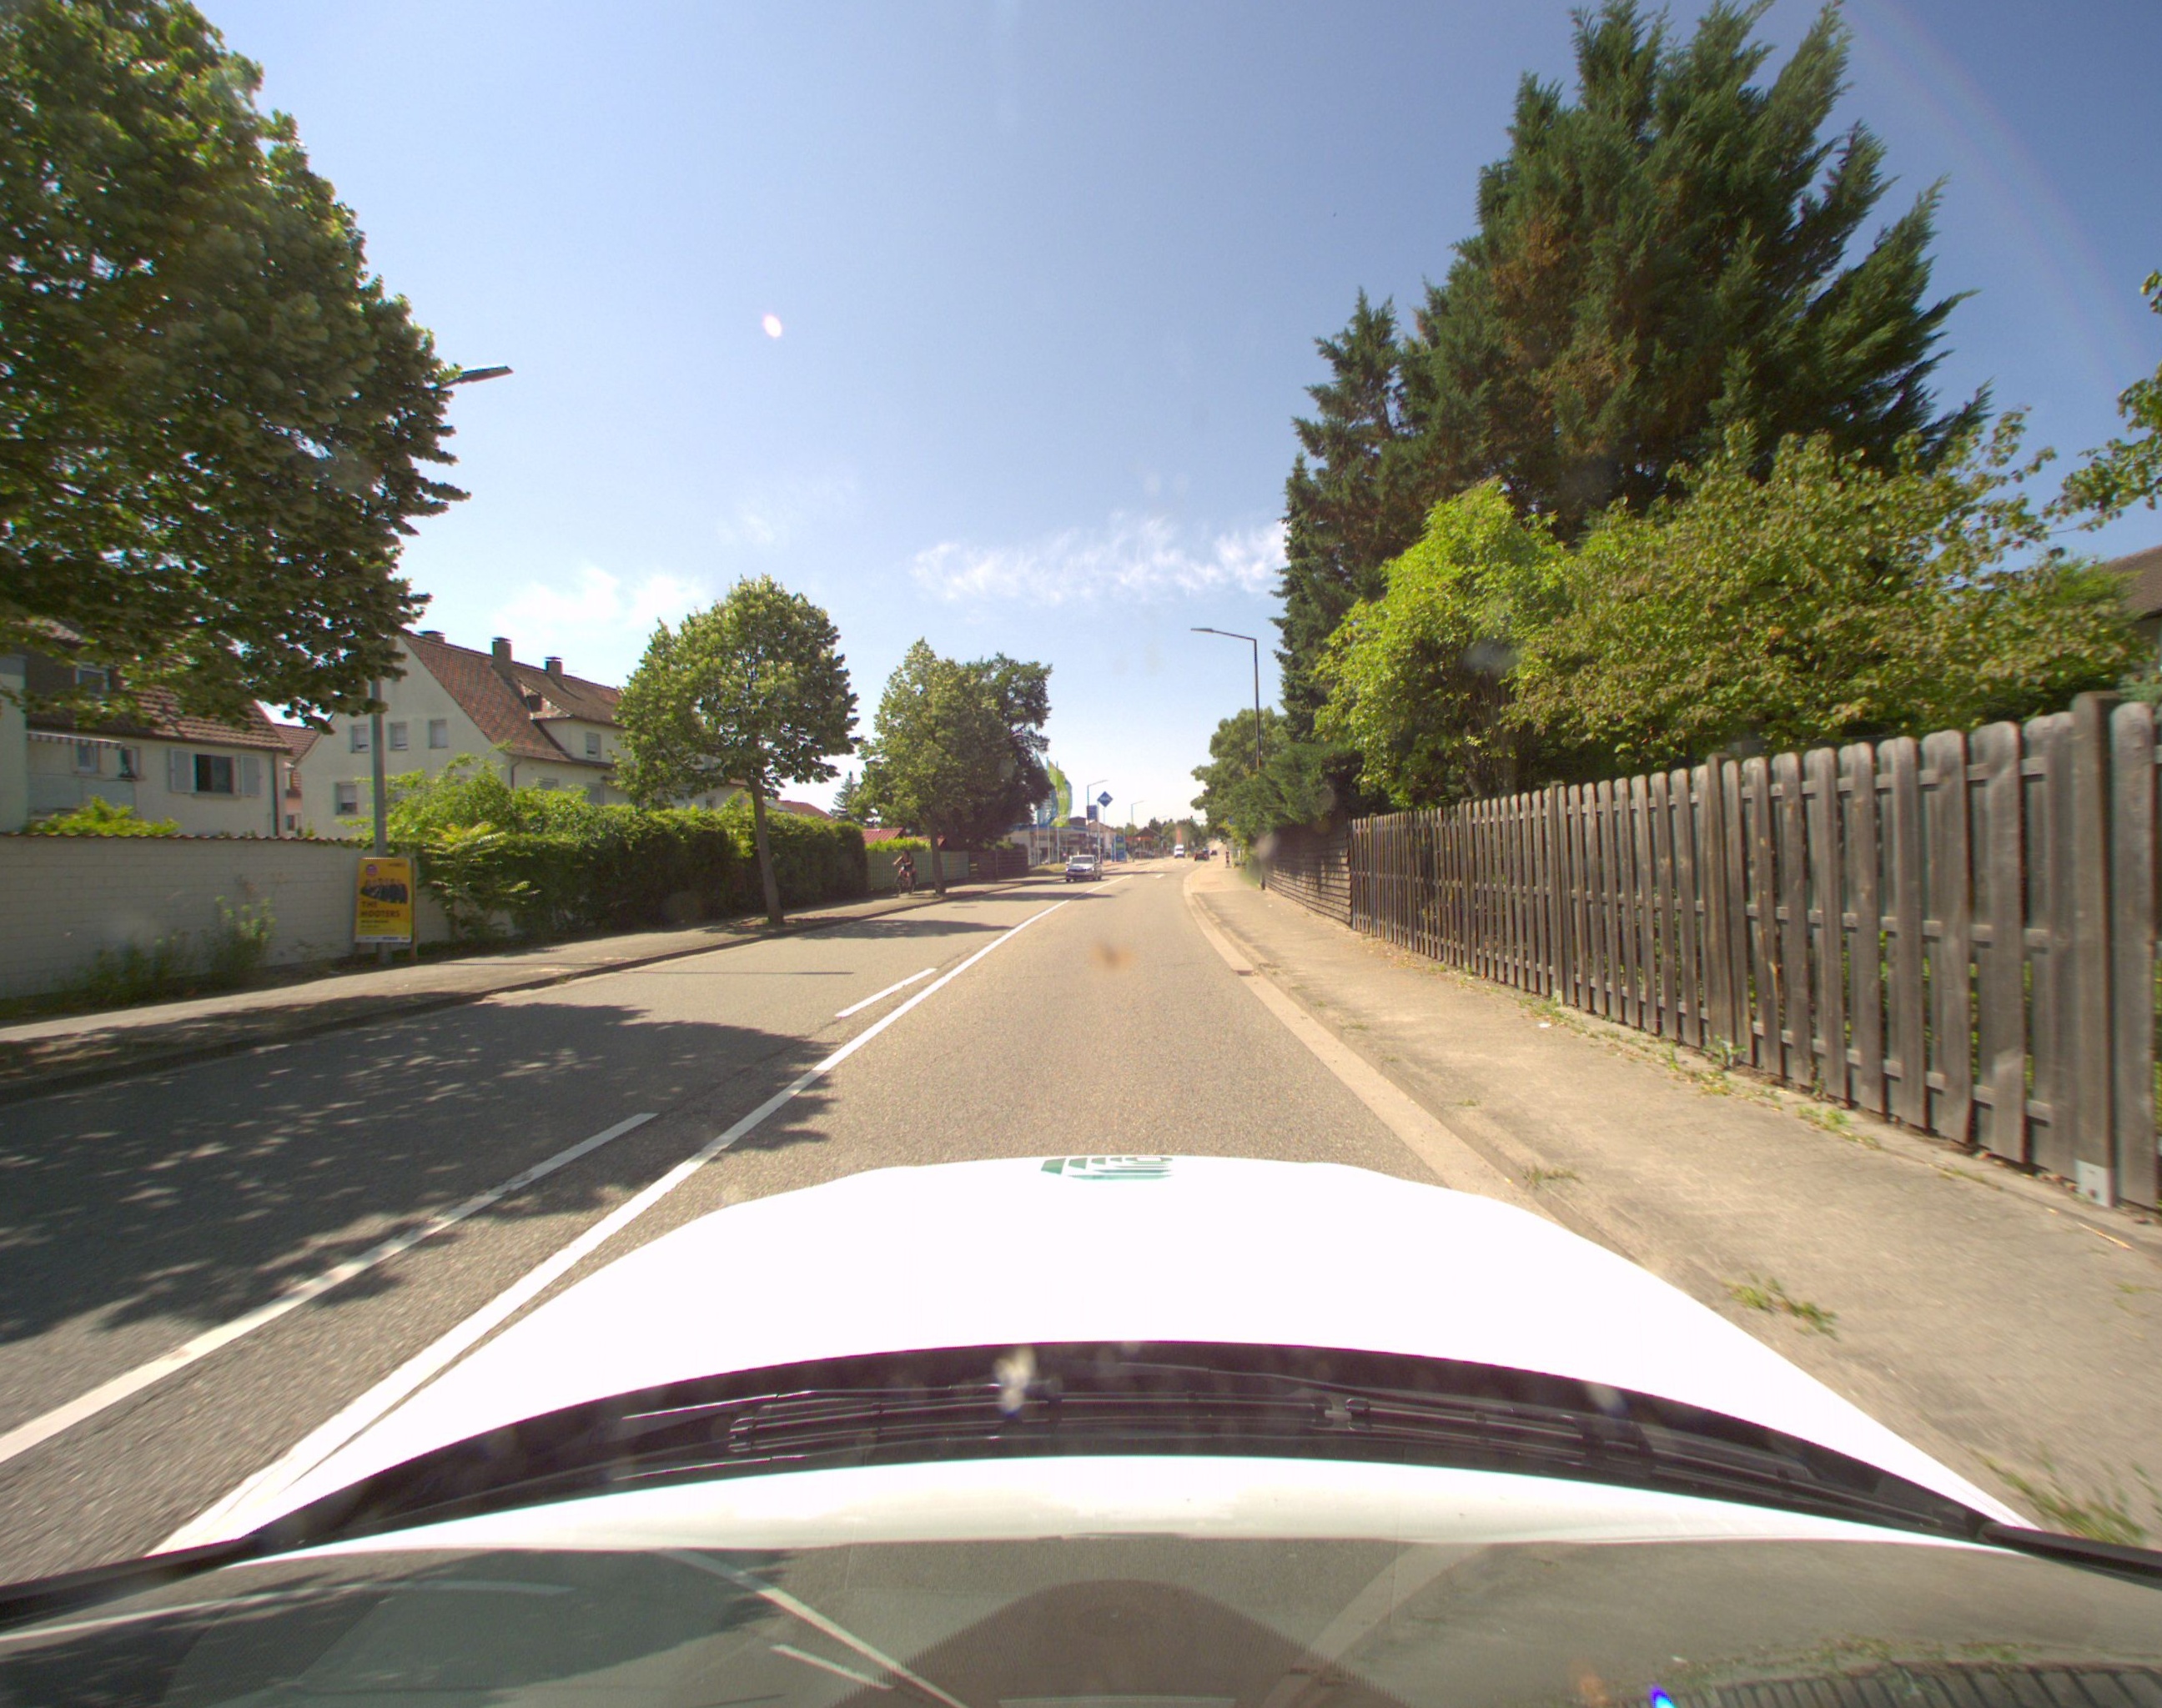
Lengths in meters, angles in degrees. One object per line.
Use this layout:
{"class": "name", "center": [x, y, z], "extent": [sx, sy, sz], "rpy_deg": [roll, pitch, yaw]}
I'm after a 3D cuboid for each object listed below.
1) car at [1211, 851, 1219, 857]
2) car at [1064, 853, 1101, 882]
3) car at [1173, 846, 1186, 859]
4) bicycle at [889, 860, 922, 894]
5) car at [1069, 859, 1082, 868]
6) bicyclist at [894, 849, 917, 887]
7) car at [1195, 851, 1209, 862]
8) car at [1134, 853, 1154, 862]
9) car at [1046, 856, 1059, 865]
{"class": "car", "center": [32.507, -0.074, 197.624], "extent": [1.655, 1.455, 3.482], "rpy_deg": [-2, 0, 10]}
{"class": "car", "center": [0.118, 0.720, 45.471], "extent": [1.603, 1.482, 3.714], "rpy_deg": [-1, 0, 6]}
{"class": "car", "center": [20.255, -0.331, 166.869], "extent": [1.980, 2.423, 5.967], "rpy_deg": [0, -1, 12]}
{"class": "bicycle", "center": [-6.582, 0.847, 30.666], "extent": [0.629, 1.180, 1.819], "rpy_deg": [-2, 0, 6]}
{"class": "car", "center": [-0.936, 1.514, 134.724], "extent": [1.609, 1.420, 3.718], "rpy_deg": [-3, 0, 6]}
{"class": "bicyclist", "center": [-6.593, 0.517, 30.655], "extent": [0.625, 1.408, 0.678], "rpy_deg": [-2, 0, 6]}
{"class": "car", "center": [16.801, 0.309, 113.044], "extent": [1.655, 1.455, 3.482], "rpy_deg": [-2, 0, 10]}
{"class": "car", "center": [12.621, 0.700, 163.367], "extent": [3.966, 1.508, 1.558], "rpy_deg": [-2, 0, 6]}
{"class": "car", "center": [-4.723, 1.077, 134.649], "extent": [1.609, 1.420, 3.718], "rpy_deg": [-3, 0, 6]}
